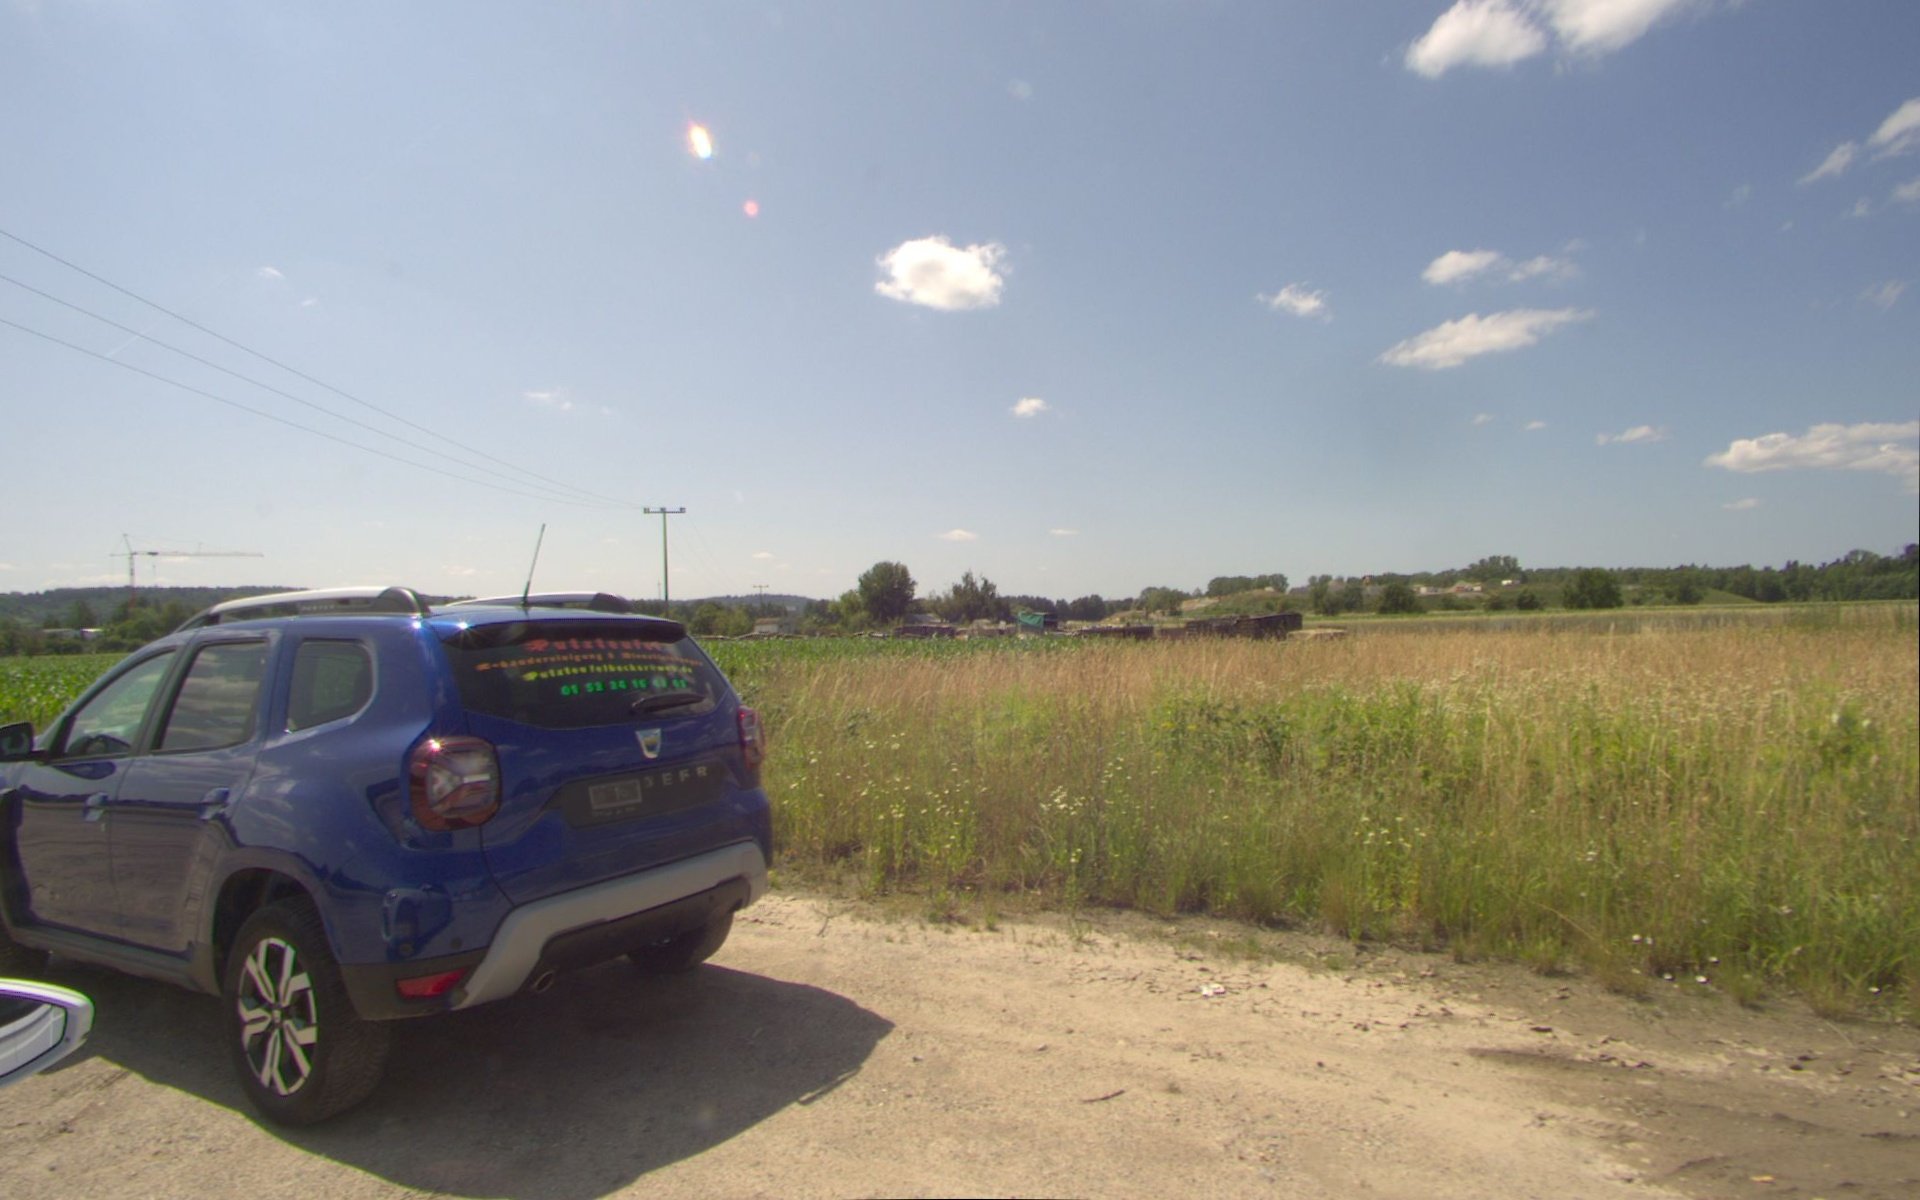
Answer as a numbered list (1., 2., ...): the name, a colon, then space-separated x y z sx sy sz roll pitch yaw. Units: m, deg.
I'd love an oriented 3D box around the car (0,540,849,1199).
1. car: -2.831 0.816 4.460 4.393 1.681 1.857 -3 -3 30
